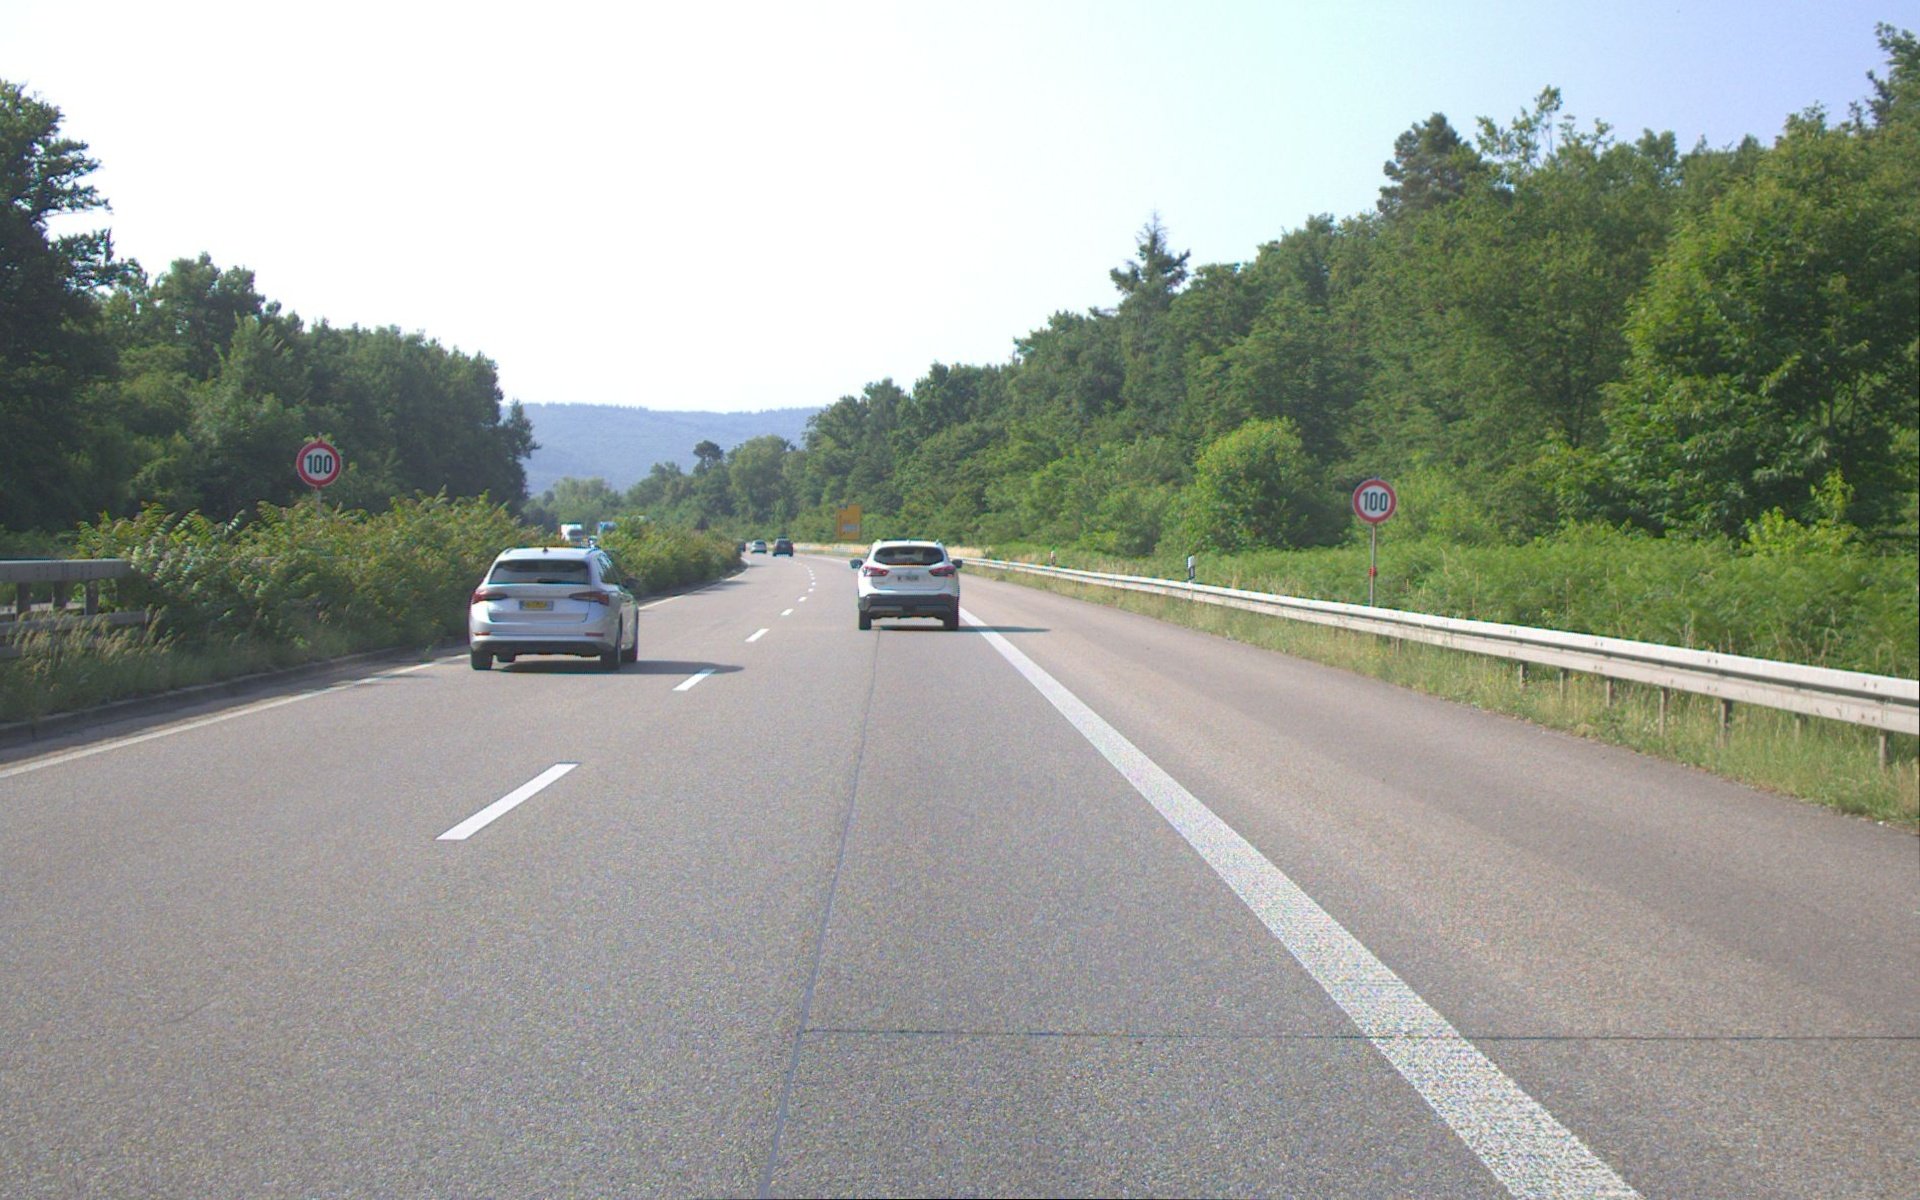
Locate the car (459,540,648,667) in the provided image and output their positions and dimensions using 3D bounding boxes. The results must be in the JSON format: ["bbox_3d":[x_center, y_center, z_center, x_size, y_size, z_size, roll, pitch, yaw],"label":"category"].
[{"bbox_3d":[-4.926,-0.009,42.314,1.792,1.433,5.279,0,1,-1],"label":"car"}]

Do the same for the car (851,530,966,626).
[{"bbox_3d":[-0.967,-0.422,61.986,1.873,1.581,4.001,2,1,-3],"label":"car"}]
